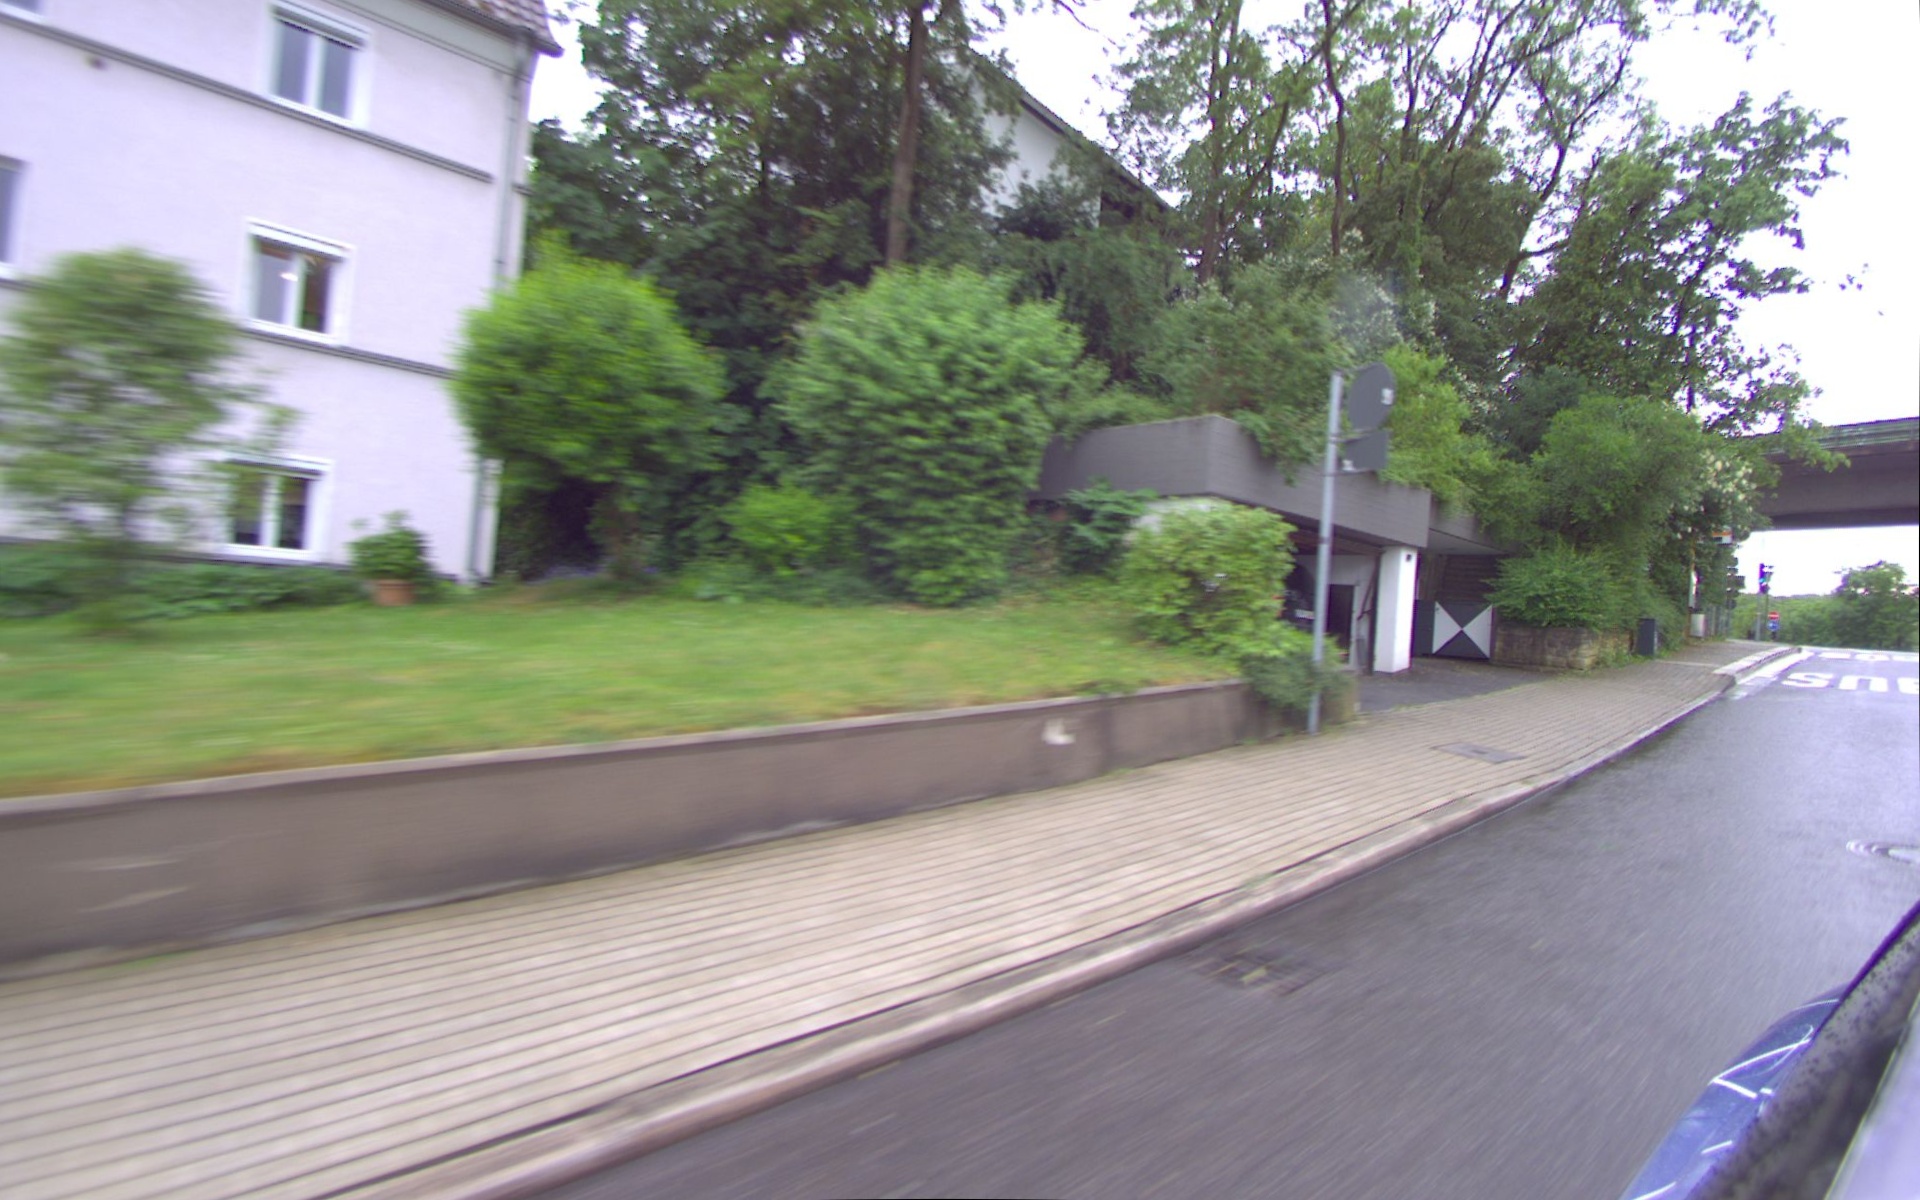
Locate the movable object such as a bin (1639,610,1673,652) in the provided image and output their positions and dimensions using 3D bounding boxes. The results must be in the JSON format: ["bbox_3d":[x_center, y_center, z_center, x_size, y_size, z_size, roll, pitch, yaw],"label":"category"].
[{"bbox_3d":[13.889,0.613,20.185,0.505,0.798,0.495,1,1,41],"label":"movable object such as a bin"}]

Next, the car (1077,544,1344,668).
[{"bbox_3d":[3.867,0.056,16.049,1.642,1.697,3.786,5,-2,-41],"label":"car"}]
